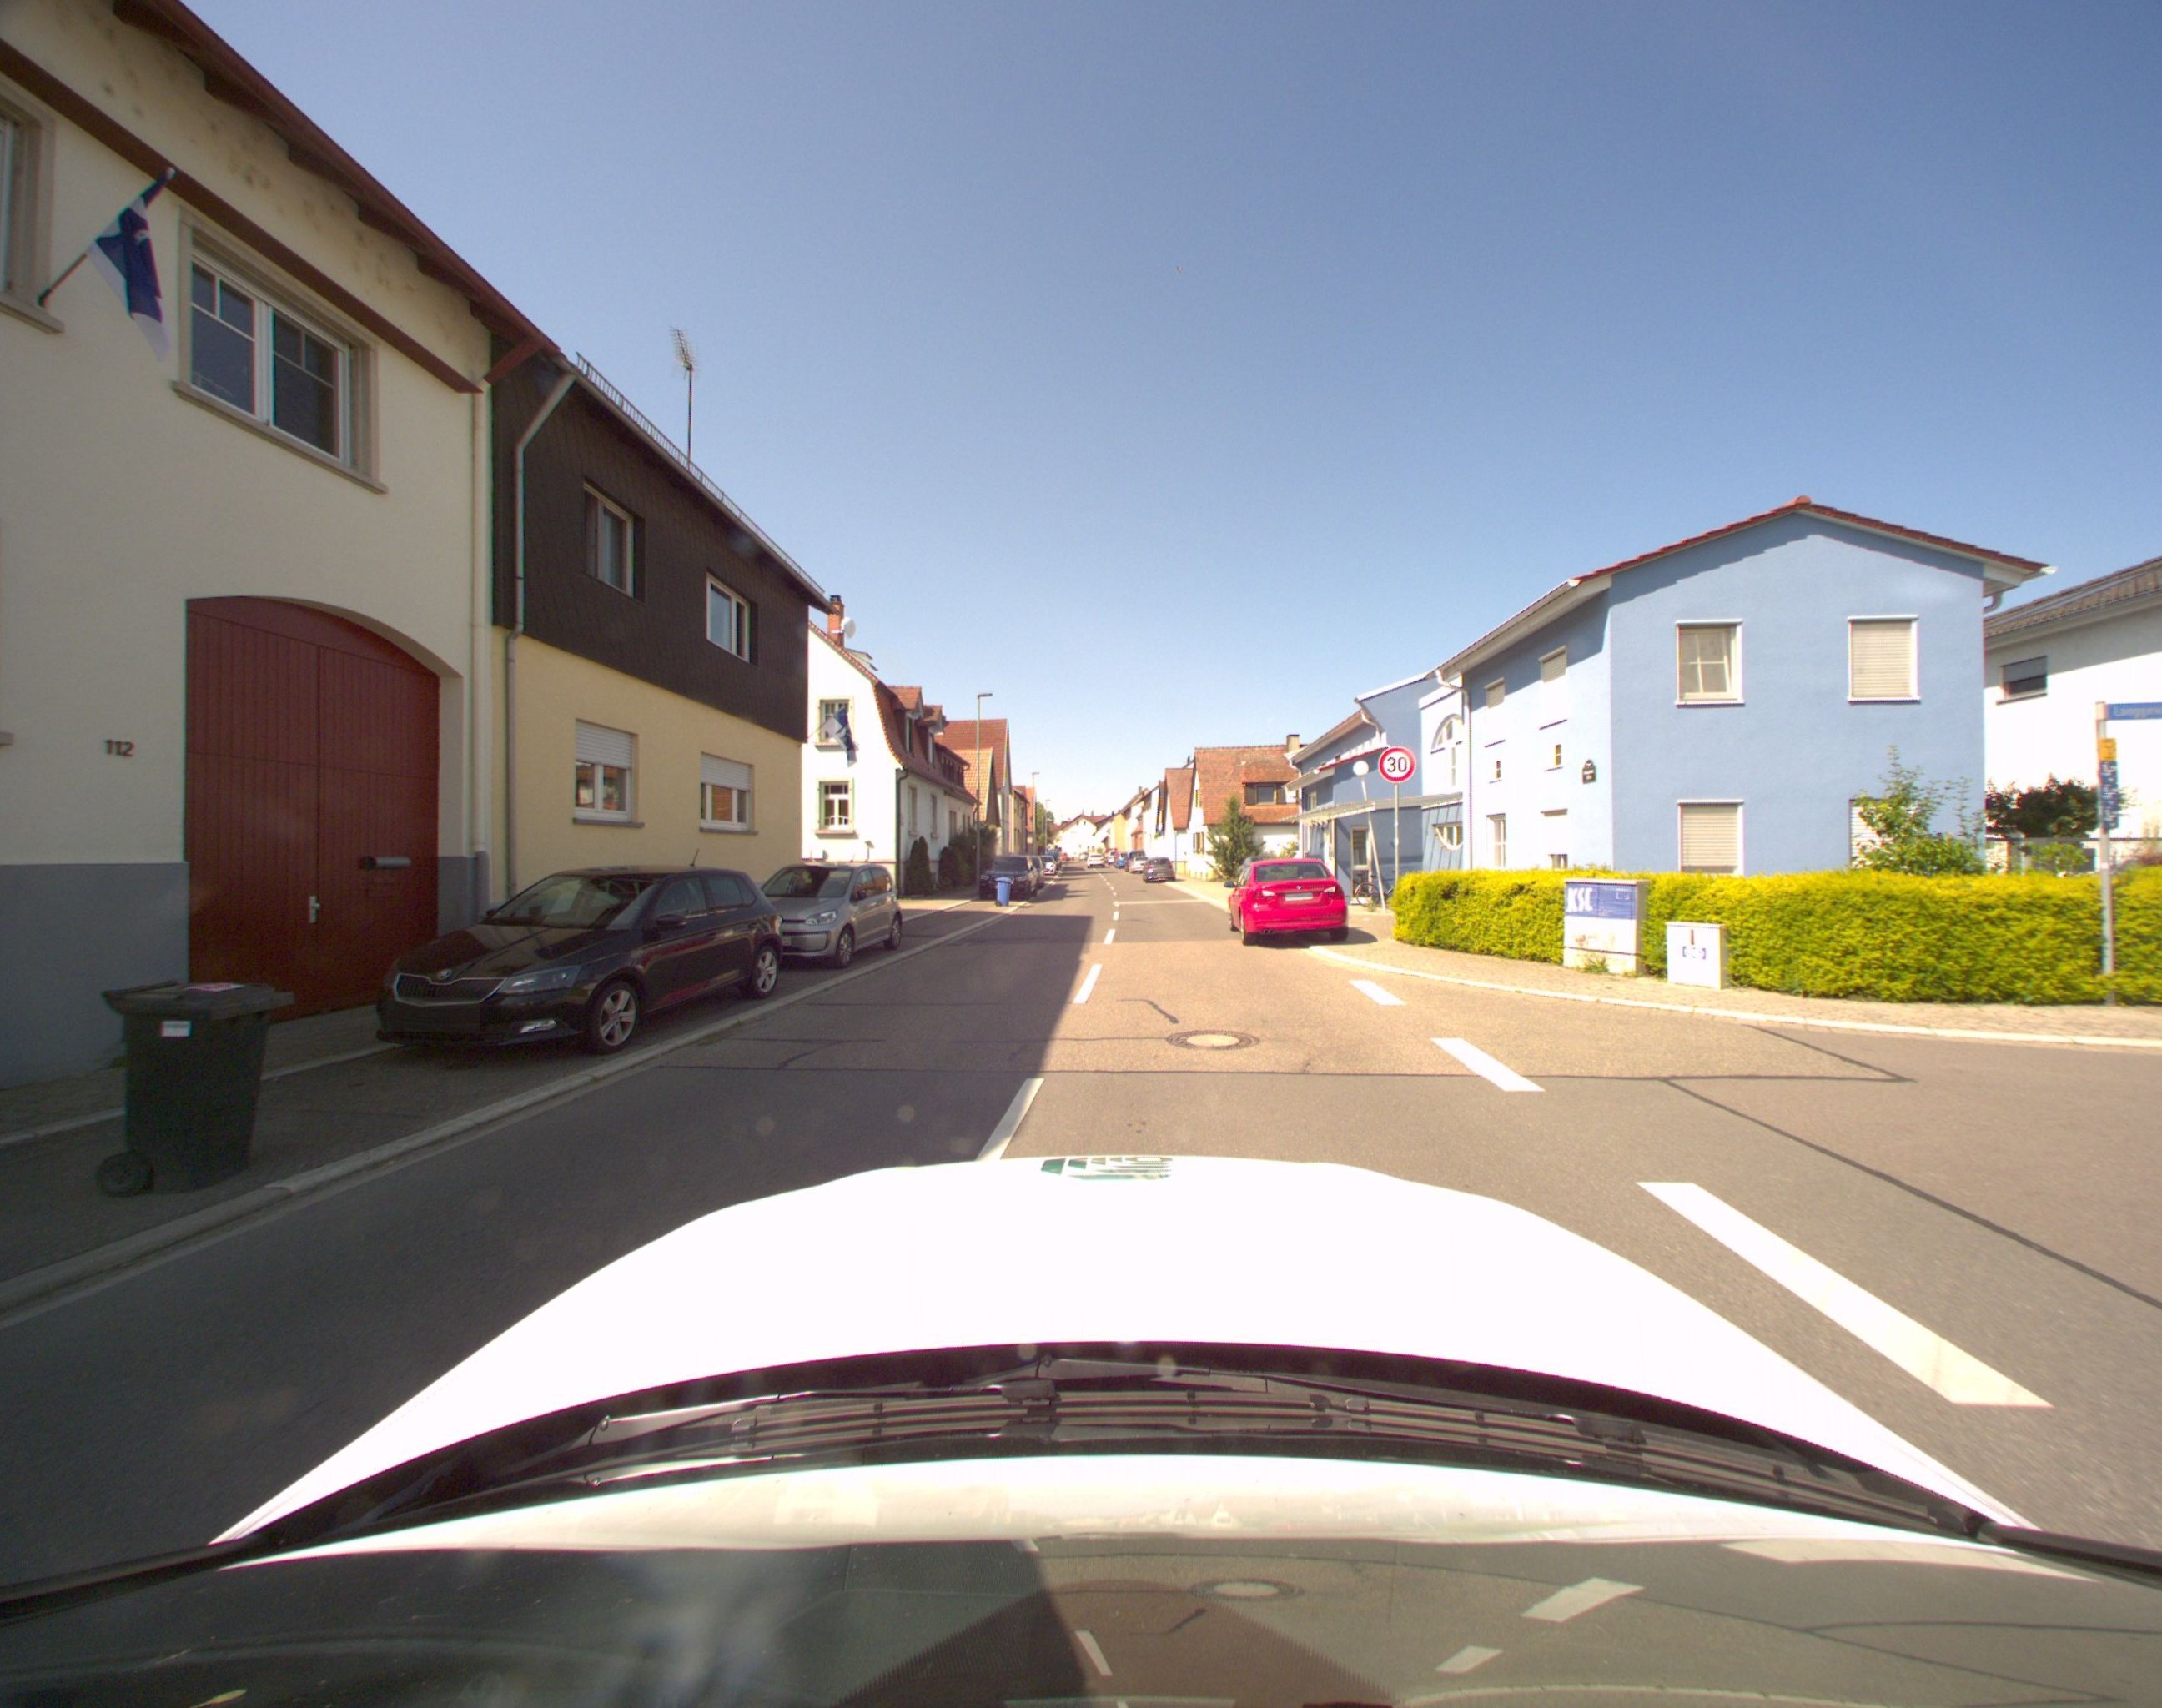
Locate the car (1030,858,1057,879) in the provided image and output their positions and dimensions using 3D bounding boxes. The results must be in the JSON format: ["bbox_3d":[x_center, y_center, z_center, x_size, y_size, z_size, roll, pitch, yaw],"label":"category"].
[{"bbox_3d":[-2.870,1.098,63.394,1.800,1.548,4.403,2,-1,1],"label":"car"}]

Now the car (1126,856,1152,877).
[{"bbox_3d":[4.477,0.973,63.444,1.699,1.497,3.450,2,-1,-1],"label":"car"}]

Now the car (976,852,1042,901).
[{"bbox_3d":[-2.744,0.857,32.080,1.913,1.668,4.667,3,-1,2],"label":"car"}]

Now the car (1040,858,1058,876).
[{"bbox_3d":[-3.010,1.203,76.978,1.614,1.578,3.959,2,-1,-1],"label":"car"}]

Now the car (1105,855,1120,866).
[{"bbox_3d":[4.046,0.824,105.211,1.761,1.433,3.449,0,-1,0],"label":"car"}]

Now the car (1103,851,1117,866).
[{"bbox_3d":[3.945,0.575,110.314,1.761,2.004,3.449,0,-1,0],"label":"car"}]

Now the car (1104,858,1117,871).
[{"bbox_3d":[3.491,1.255,97.092,1.416,1.515,3.302,2,-1,-1],"label":"car"}]

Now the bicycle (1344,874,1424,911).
[{"bbox_3d":[8.305,1.049,22.362,1.945,0.981,0.657,0,-1,5],"label":"bicycle"}]

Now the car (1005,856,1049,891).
[{"bbox_3d":[-2.704,0.973,42.040,1.866,1.637,4.664,2,-1,1],"label":"car"}]

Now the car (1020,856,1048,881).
[{"bbox_3d":[-3.071,0.964,53.331,1.547,1.544,2.987,2,-1,0],"label":"car"}]

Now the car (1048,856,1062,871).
[{"bbox_3d":[-2.965,1.122,94.159,1.523,1.713,3.624,2,-1,-1],"label":"car"}]

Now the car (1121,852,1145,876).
[{"bbox_3d":[4.363,0.801,68.479,1.644,1.910,3.624,2,-1,-1],"label":"car"}]

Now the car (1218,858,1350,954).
[{"bbox_3d":[3.548,0.884,14.970,1.724,1.495,4.361,-1,-2,6],"label":"car"}]

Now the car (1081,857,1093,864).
[{"bbox_3d":[1.035,1.120,140.938,1.987,1.288,3.802,0,-1,-1],"label":"car"}]

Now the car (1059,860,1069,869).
[{"bbox_3d":[-2.873,1.746,139.362,1.596,1.489,3.624,2,-1,-1],"label":"car"}]

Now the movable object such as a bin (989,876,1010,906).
[{"bbox_3d":[-2.689,1.220,26.987,0.594,0.982,0.531,2,-1,1],"label":"movable object such as a bin"}]

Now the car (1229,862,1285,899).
[{"bbox_3d":[7.338,1.077,34.281,1.682,1.420,4.149,1,-1,3],"label":"car"}]

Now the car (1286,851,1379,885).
[{"bbox_3d":[12.474,0.697,40.567,4.154,1.657,1.815,0,-1,5],"label":"car"}]

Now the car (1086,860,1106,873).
[{"bbox_3d":[1.532,1.292,86.035,1.987,1.288,3.998,0,-1,-1],"label":"car"}]

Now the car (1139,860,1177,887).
[{"bbox_3d":[4.351,1.073,46.685,1.699,1.433,3.887,2,-1,-1],"label":"car"}]

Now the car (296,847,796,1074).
[{"bbox_3d":[-4.407,0.758,7.620,1.670,1.437,4.001,4,-1,5],"label":"car"}]

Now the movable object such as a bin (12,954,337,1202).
[{"bbox_3d":[-4.283,1.017,3.925,0.549,0.928,0.825,5,0,-1],"label":"movable object such as a bin"}]

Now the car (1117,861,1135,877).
[{"bbox_3d":[4.373,1.457,79.498,1.416,1.515,3.302,2,-1,-1],"label":"car"}]

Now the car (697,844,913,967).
[{"bbox_3d":[-4.000,0.702,12.533,1.633,1.501,3.786,4,-1,5],"label":"car"}]
